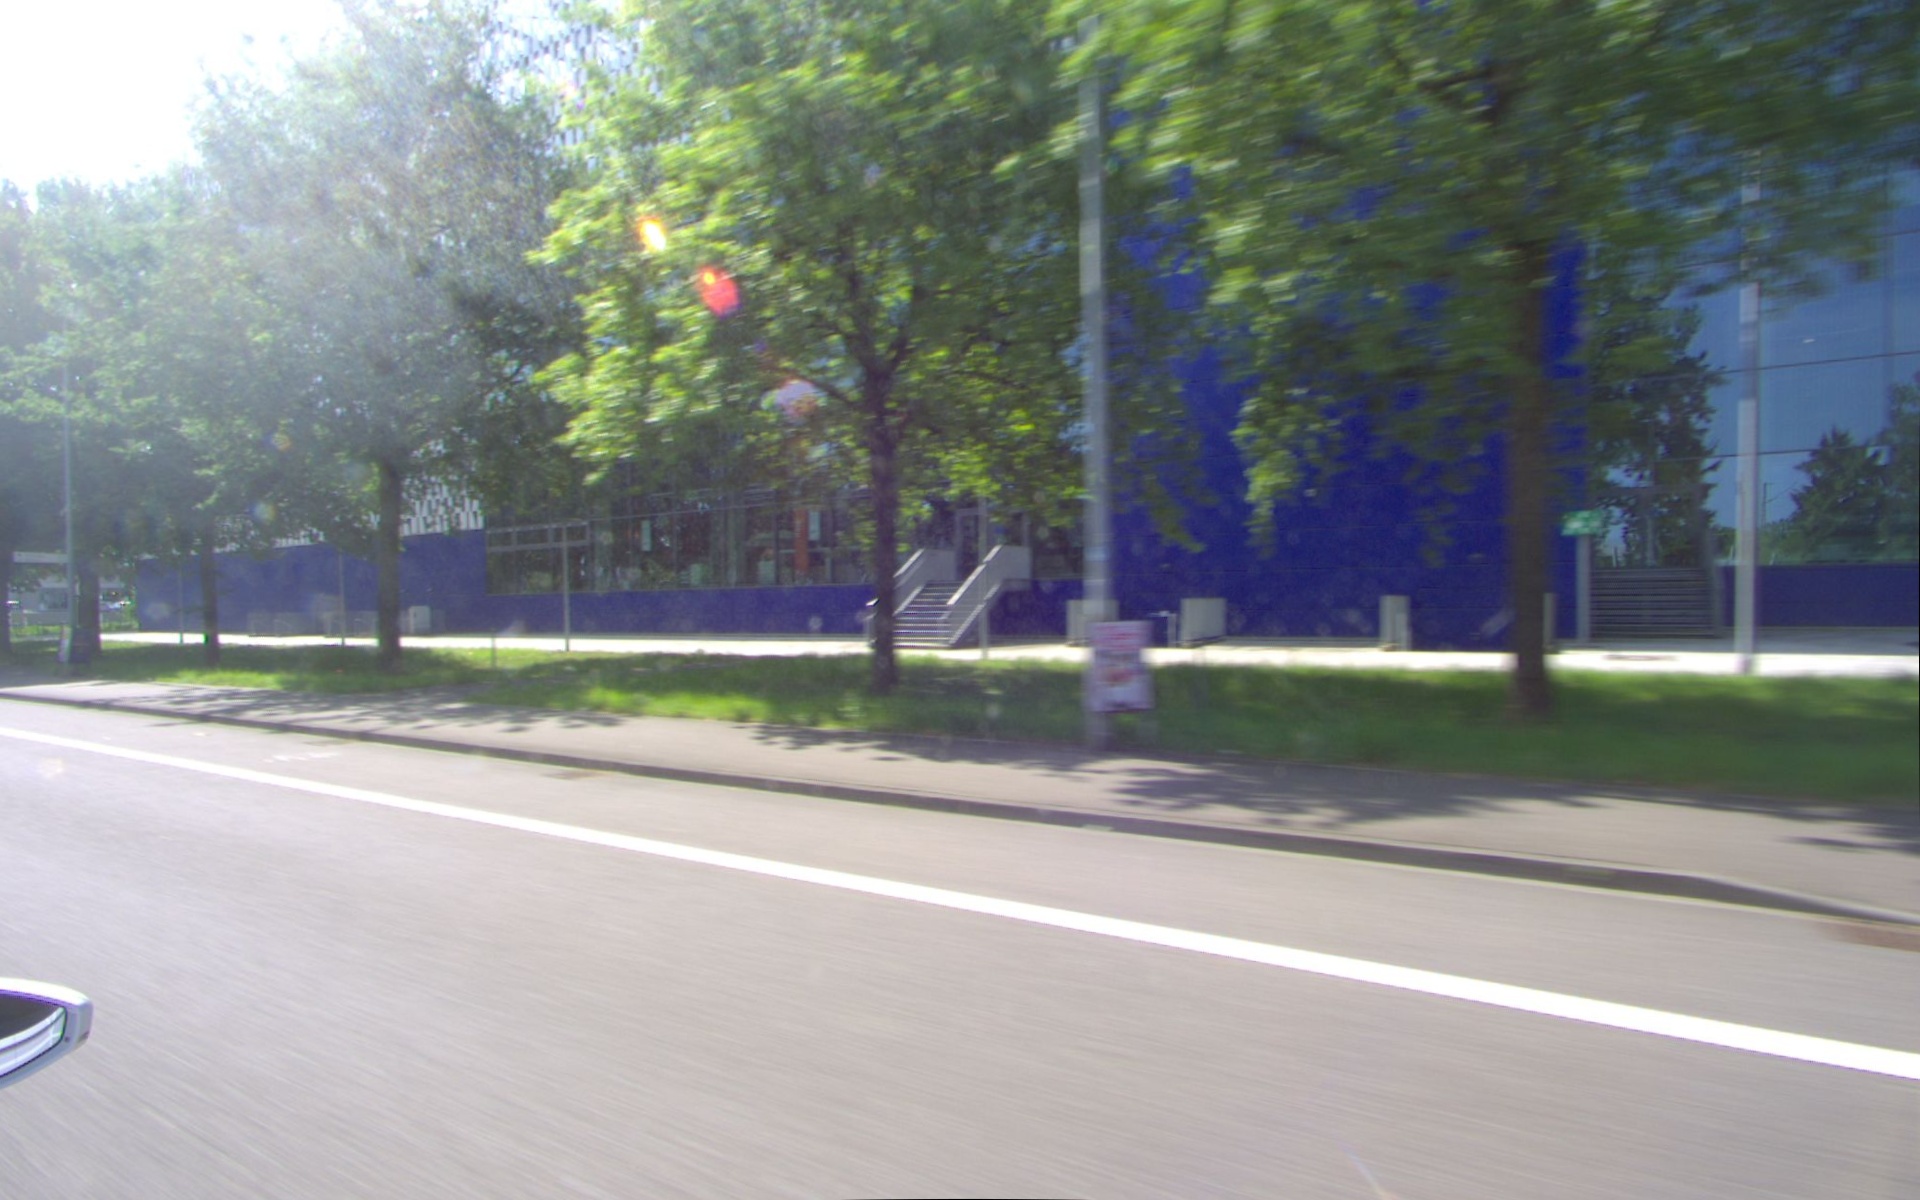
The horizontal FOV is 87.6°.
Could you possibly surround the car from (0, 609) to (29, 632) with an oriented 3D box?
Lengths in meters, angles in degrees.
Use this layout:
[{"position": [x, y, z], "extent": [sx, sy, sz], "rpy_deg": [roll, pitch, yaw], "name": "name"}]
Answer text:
[{"position": [-87.804, 1.942, 90.997], "extent": [1.462, 2.022, 4.384], "rpy_deg": [0, 3, 37], "name": "car"}]
